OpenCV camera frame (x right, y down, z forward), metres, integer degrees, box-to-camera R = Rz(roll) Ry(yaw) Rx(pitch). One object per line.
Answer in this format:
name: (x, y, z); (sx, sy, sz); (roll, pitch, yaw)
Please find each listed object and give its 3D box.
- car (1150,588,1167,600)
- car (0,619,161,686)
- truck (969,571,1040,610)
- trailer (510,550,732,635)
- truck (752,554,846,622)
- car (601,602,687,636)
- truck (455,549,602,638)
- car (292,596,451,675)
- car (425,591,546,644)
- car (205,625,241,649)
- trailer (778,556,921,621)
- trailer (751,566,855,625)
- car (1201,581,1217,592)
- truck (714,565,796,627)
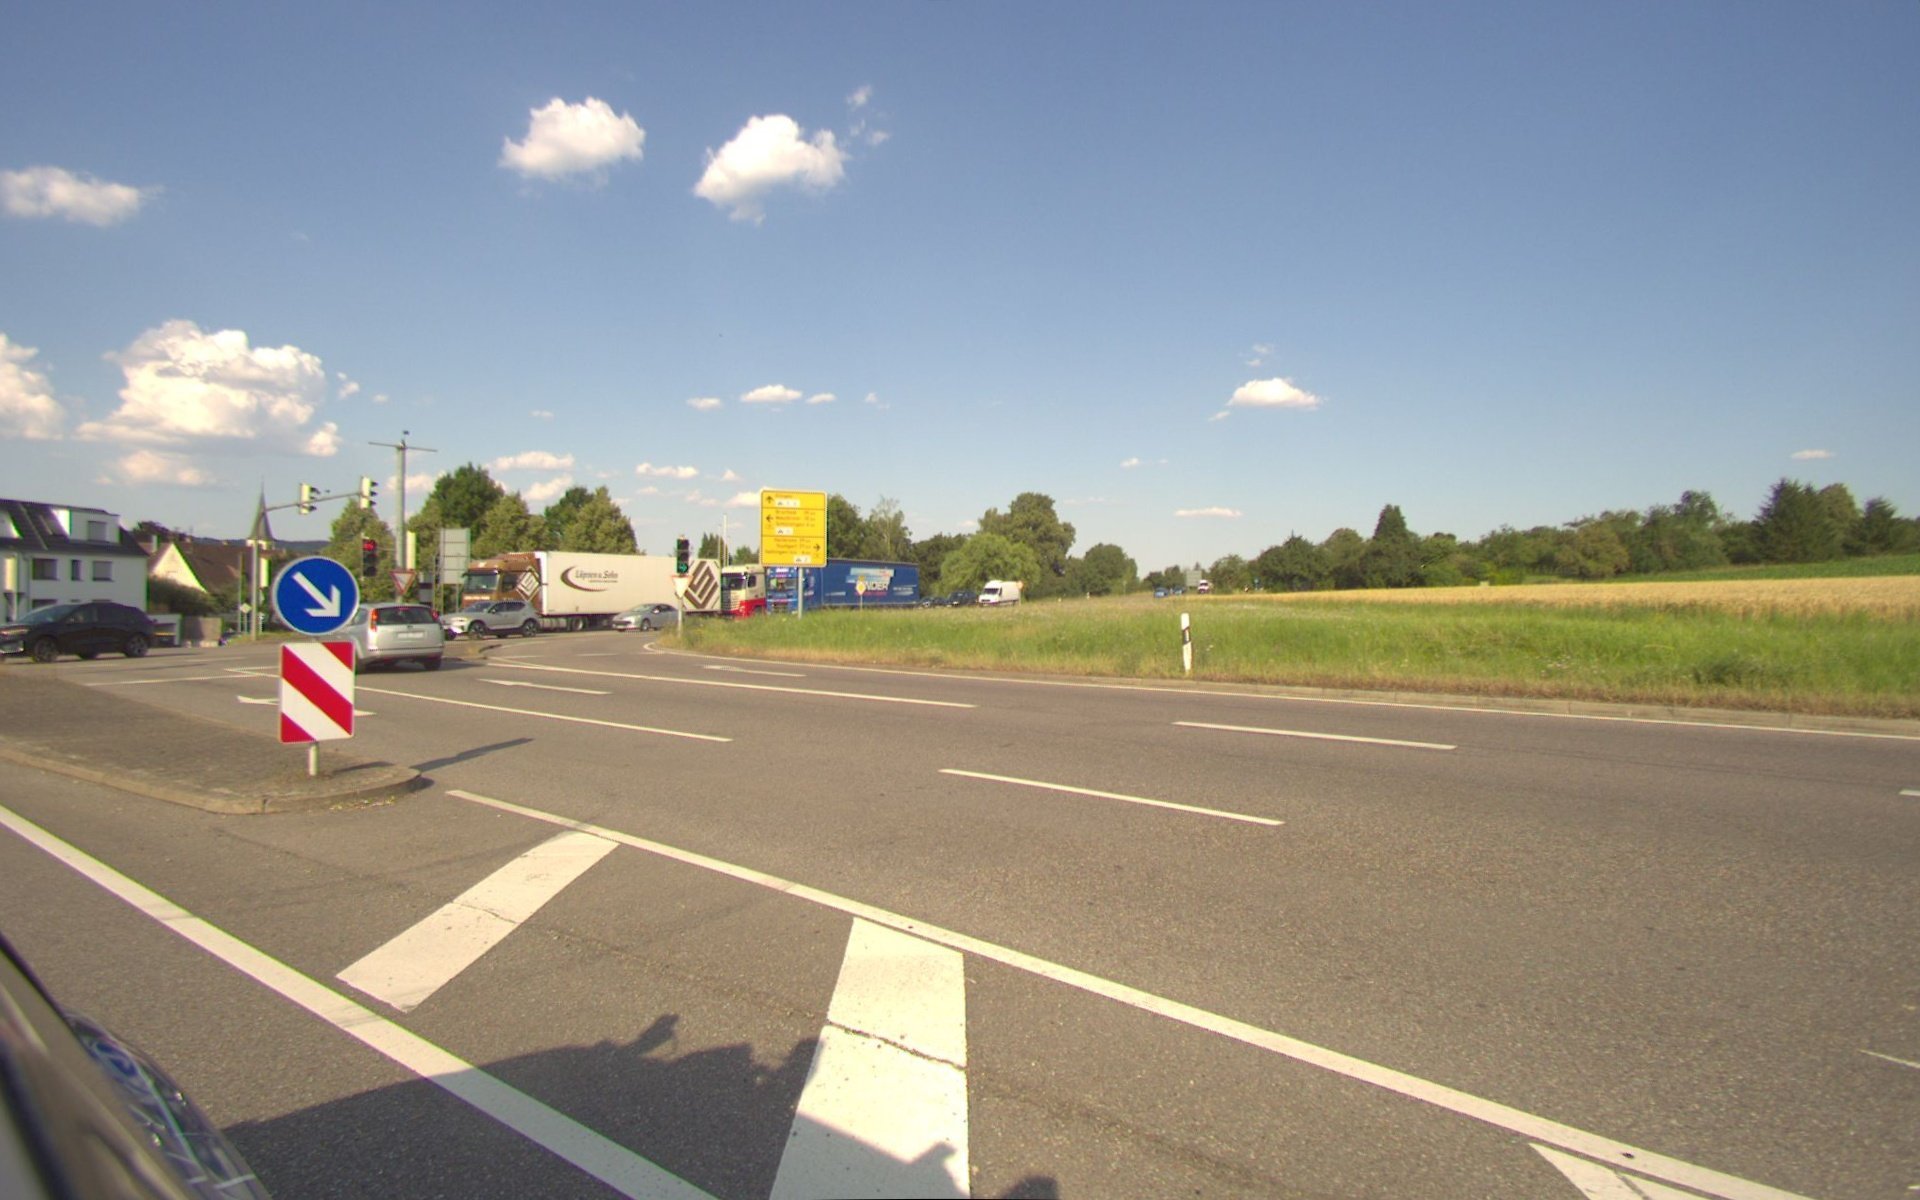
car: (25.929, -0.792, 132.018); (1.749, 1.512, 3.978); (0, -1, 17)
car: (-25.104, 1.415, 28.124); (1.756, 1.625, 4.535); (-2, 0, 9)
truck: (4.839, -1.035, 105.608); (2.516, 3.802, 12.788); (-2, 0, 25)
trailer: (-18.169, -0.371, 56.097); (2.526, 4.097, 14.213); (-2, -1, 25)
truck: (-10.162, -0.726, 64.398); (3.357, 4.035, 5.555); (-2, 0, 25)
car: (-15.942, 0.938, 51.172); (1.988, 1.497, 3.967); (-2, 1, 25)
truck: (-21.074, -0.322, 49.845); (2.526, 4.074, 6.604); (-2, 0, 26)
car: (-13.137, 0.824, 22.483); (4.352, 1.540, 1.795); (-4, -2, 42)
car: (-19.712, 0.697, 42.218); (1.897, 1.962, 4.336); (-2, 0, 25)
car: (-49.968, 2.490, 68.693); (1.764, 1.509, 4.313); (-2, 0, -34)
trailer: (-7.345, -0.812, 70.792); (3.399, 4.035, 13.635); (-2, 0, 25)
trailer: (-10.810, -0.336, 70.840); (2.253, 3.806, 9.445); (-3, -1, 25)
car: (46.037, -2.517, 187.143); (1.991, 2.029, 3.961); (-2, 0, 29)
truck: (-13.206, -0.280, 65.627); (2.250, 3.834, 5.638); (-2, 0, 25)
